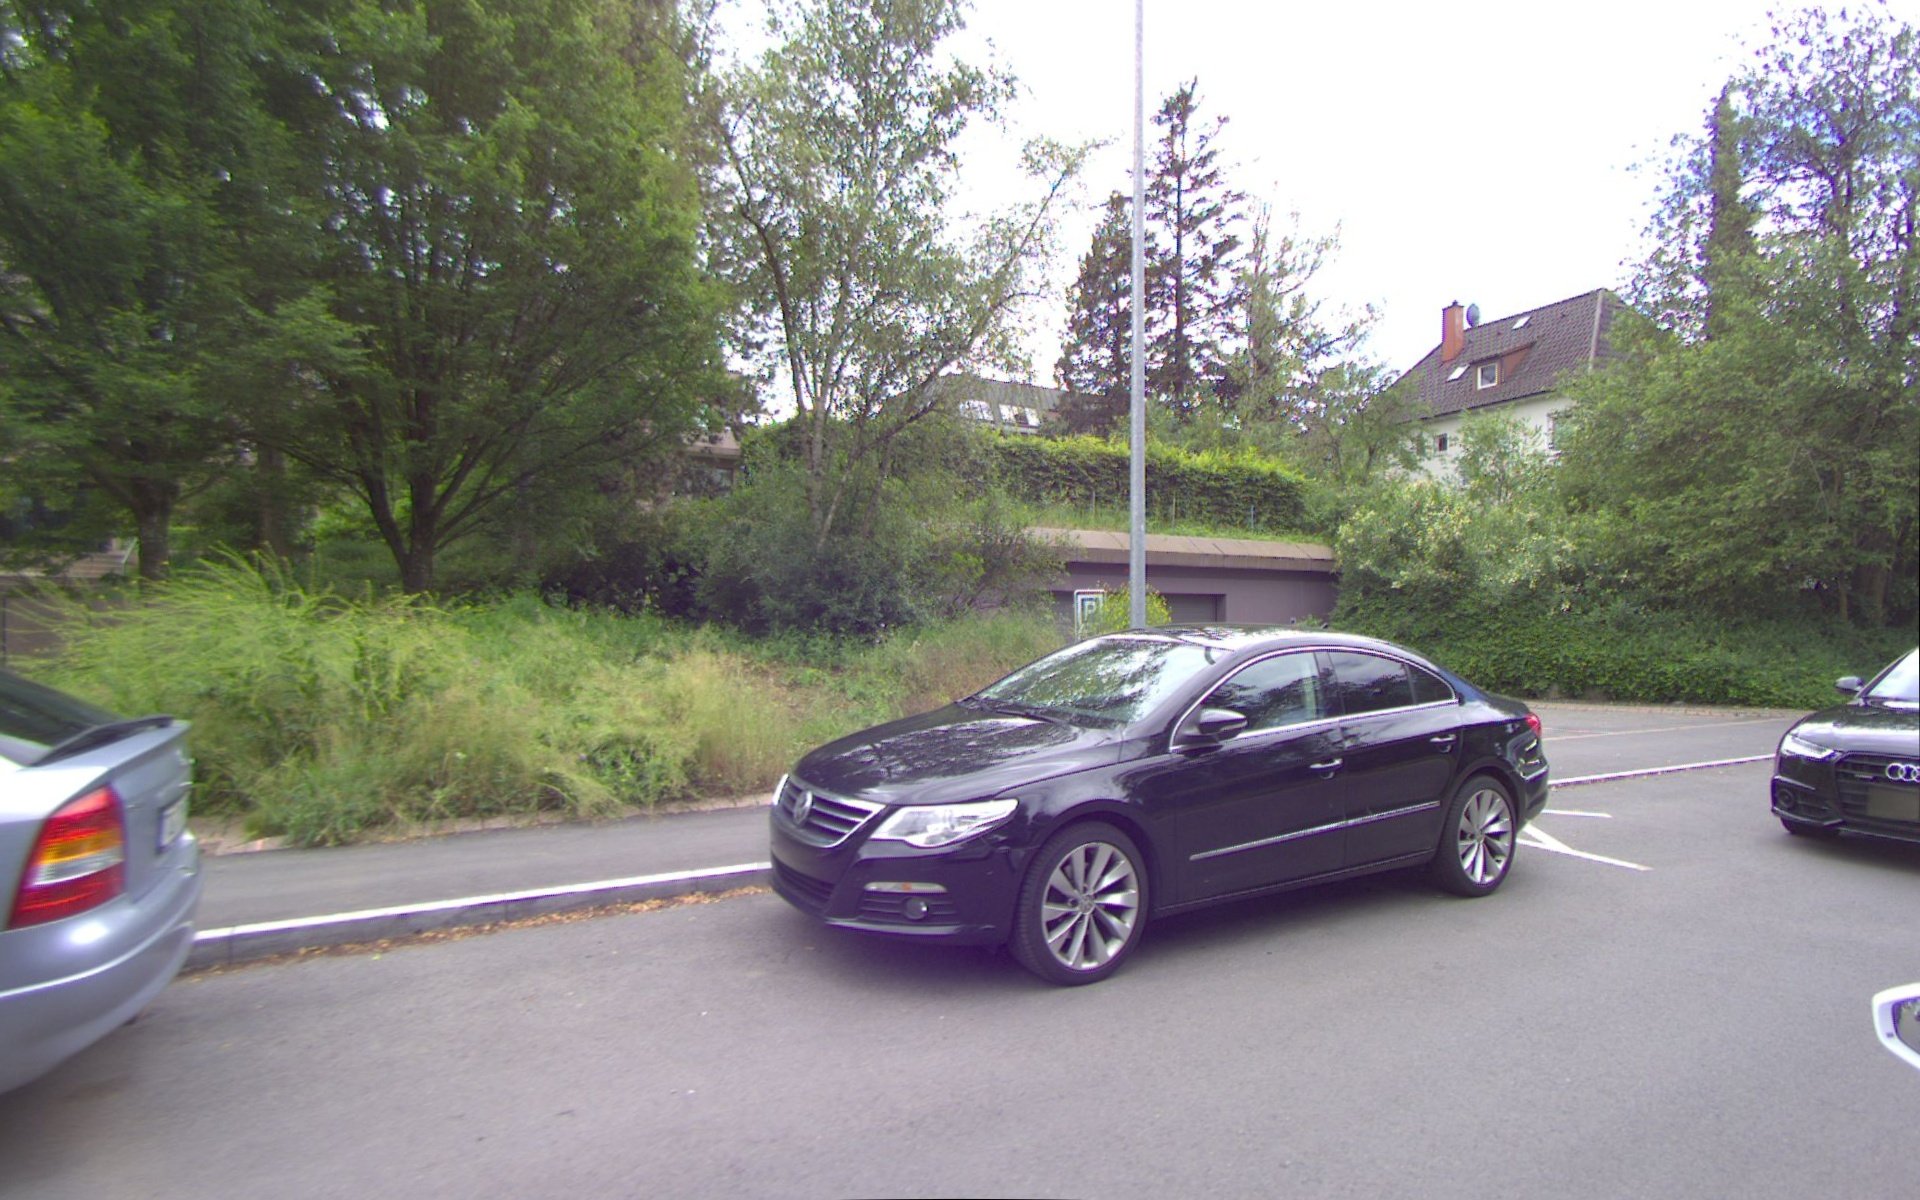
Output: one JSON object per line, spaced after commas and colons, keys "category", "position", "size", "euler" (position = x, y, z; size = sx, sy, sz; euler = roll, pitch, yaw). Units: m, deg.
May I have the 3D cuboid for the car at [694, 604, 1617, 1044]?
{"category": "car", "position": [1.318, 0.797, 5.432], "size": [5.048, 1.451, 1.769], "euler": [1, 0, -32]}

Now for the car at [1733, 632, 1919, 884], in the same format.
{"category": "car", "position": [7.481, 0.978, 7.075], "size": [4.439, 1.445, 1.771], "euler": [1, 0, -32]}

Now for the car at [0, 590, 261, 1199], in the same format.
{"category": "car", "position": [-4.168, 0.682, 2.108], "size": [4.302, 1.451, 1.616], "euler": [1, -2, -32]}
